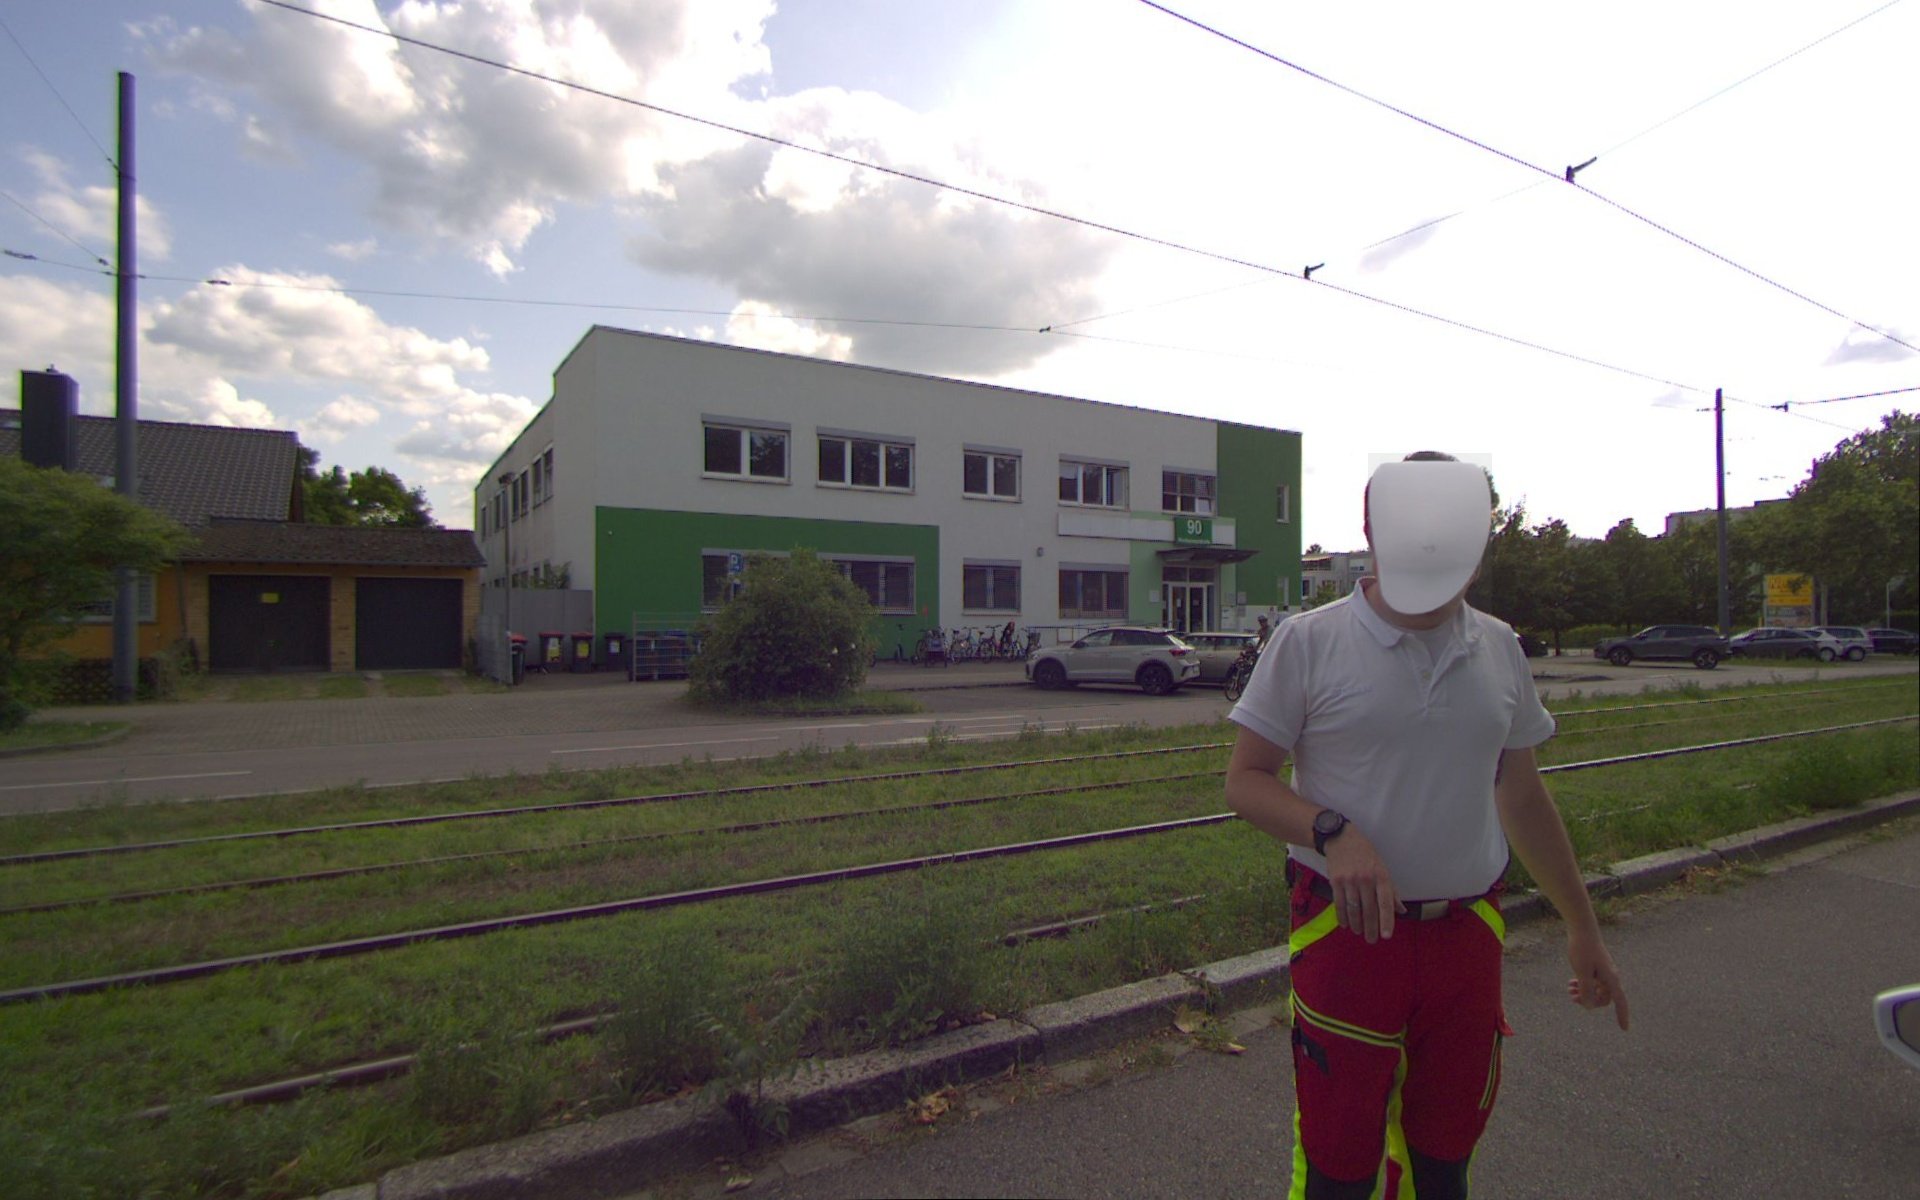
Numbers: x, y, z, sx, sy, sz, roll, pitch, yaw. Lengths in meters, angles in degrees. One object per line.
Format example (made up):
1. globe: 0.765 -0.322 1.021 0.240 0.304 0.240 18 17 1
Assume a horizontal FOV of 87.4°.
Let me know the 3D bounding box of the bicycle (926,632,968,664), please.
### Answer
1. bicycle: -0.418 1.512 31.718 0.453 0.911 1.848 2 0 -30

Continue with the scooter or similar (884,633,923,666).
1. scooter or similar: -1.764 1.524 31.029 0.453 0.911 1.726 2 0 -30

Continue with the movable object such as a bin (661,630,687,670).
1. movable object such as a bin: -7.873 1.371 27.651 0.558 1.056 0.565 0 1 -31

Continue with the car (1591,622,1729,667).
1. car: 26.211 1.630 37.758 4.164 1.501 1.878 1 -1 34

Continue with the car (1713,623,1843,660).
1. car: 36.743 1.825 45.253 4.154 1.501 1.882 1 -1 23

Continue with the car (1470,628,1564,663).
1. car: 29.208 2.369 52.773 1.755 1.586 3.970 2 0 -28

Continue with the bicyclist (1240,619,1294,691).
1. bicyclist: 6.481 1.146 21.187 0.916 1.477 0.621 0 -1 -26

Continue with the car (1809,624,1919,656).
1. car: 46.195 2.029 51.096 4.151 1.501 1.883 1 -1 19

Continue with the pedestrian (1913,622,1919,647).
1. pedestrian: 65.753 2.335 68.851 0.597 1.699 0.463 1 -1 -33

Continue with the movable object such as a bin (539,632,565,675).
1. movable object such as a bin: -10.557 1.371 25.987 0.558 1.056 0.565 0 1 -31

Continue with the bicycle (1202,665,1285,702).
1. bicycle: 6.144 1.798 21.750 1.781 0.727 0.643 1 -1 -27

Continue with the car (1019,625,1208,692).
1. car: 3.701 1.375 24.279 4.155 1.501 1.882 -1 -2 25

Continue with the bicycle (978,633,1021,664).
1. bicycle: 1.289 1.569 32.803 0.453 0.911 1.848 2 0 -30

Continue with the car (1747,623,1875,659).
1. car: 39.407 1.869 46.642 4.154 1.501 1.882 1 -1 23

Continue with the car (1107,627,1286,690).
1. car: 6.091 1.466 25.964 4.160 1.501 1.880 -1 -2 30

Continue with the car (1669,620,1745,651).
1. car: 48.533 2.279 65.365 1.960 1.773 4.000 1 0 0

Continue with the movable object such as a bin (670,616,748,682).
1. movable object such as a bin: -6.225 1.184 24.903 1.691 1.540 1.001 0 1 -29

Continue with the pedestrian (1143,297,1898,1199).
1. pedestrian: 0.807 0.481 1.714 0.790 1.709 0.851 1 0 -3

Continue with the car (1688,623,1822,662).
1. car: 34.388 1.813 43.586 4.154 1.501 1.882 1 -1 23

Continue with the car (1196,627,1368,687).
1. car: 8.755 1.509 27.345 4.160 1.501 1.880 -1 -2 30

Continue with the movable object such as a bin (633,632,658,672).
1. movable object such as a bin: -8.535 1.403 27.259 0.558 1.056 0.565 0 1 -31

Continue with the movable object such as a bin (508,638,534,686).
1. movable object such as a bin: -10.120 1.420 23.142 0.476 1.056 0.502 0 1 -31

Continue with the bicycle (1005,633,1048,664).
1. bicycle: 2.200 1.591 33.315 0.453 0.911 1.848 2 0 -30

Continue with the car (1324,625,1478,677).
1. car: 13.575 1.539 30.946 4.160 1.501 1.880 -1 -2 30

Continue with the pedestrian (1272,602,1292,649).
1. pedestrian: 12.802 1.016 39.954 0.503 1.852 0.543 1 -1 -33

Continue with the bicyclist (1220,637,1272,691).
1. bicyclist: 6.201 1.383 21.785 0.916 1.127 0.637 1 -1 -27

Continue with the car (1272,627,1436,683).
1. car: 11.329 1.548 28.922 4.160 1.501 1.880 -1 -2 30

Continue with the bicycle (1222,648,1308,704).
1. bicycle: 6.423 1.580 21.145 1.781 1.094 0.643 1 -1 -27

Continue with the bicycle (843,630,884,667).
1. bicycle: -2.898 1.428 30.050 0.453 0.999 1.848 2 0 -30

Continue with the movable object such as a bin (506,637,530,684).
1. movable object such as a bin: -10.399 1.413 23.624 0.474 1.056 0.491 0 1 -31

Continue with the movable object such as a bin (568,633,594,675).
1. movable object such as a bin: -9.949 1.400 26.388 0.558 1.056 0.565 0 1 -31

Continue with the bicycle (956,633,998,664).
1. bicycle: 0.529 1.544 32.340 0.453 0.911 1.848 2 0 -30

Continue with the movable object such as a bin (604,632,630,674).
1. movable object such as a bin: -9.194 1.408 26.886 0.558 1.056 0.565 0 1 -31

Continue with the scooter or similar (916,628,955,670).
1. scooter or similar: -0.734 1.431 29.653 1.073 1.171 1.306 2 0 -2

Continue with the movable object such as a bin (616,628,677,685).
1. movable object such as a bin: -7.539 1.338 24.142 1.241 1.251 1.001 0 1 -29
